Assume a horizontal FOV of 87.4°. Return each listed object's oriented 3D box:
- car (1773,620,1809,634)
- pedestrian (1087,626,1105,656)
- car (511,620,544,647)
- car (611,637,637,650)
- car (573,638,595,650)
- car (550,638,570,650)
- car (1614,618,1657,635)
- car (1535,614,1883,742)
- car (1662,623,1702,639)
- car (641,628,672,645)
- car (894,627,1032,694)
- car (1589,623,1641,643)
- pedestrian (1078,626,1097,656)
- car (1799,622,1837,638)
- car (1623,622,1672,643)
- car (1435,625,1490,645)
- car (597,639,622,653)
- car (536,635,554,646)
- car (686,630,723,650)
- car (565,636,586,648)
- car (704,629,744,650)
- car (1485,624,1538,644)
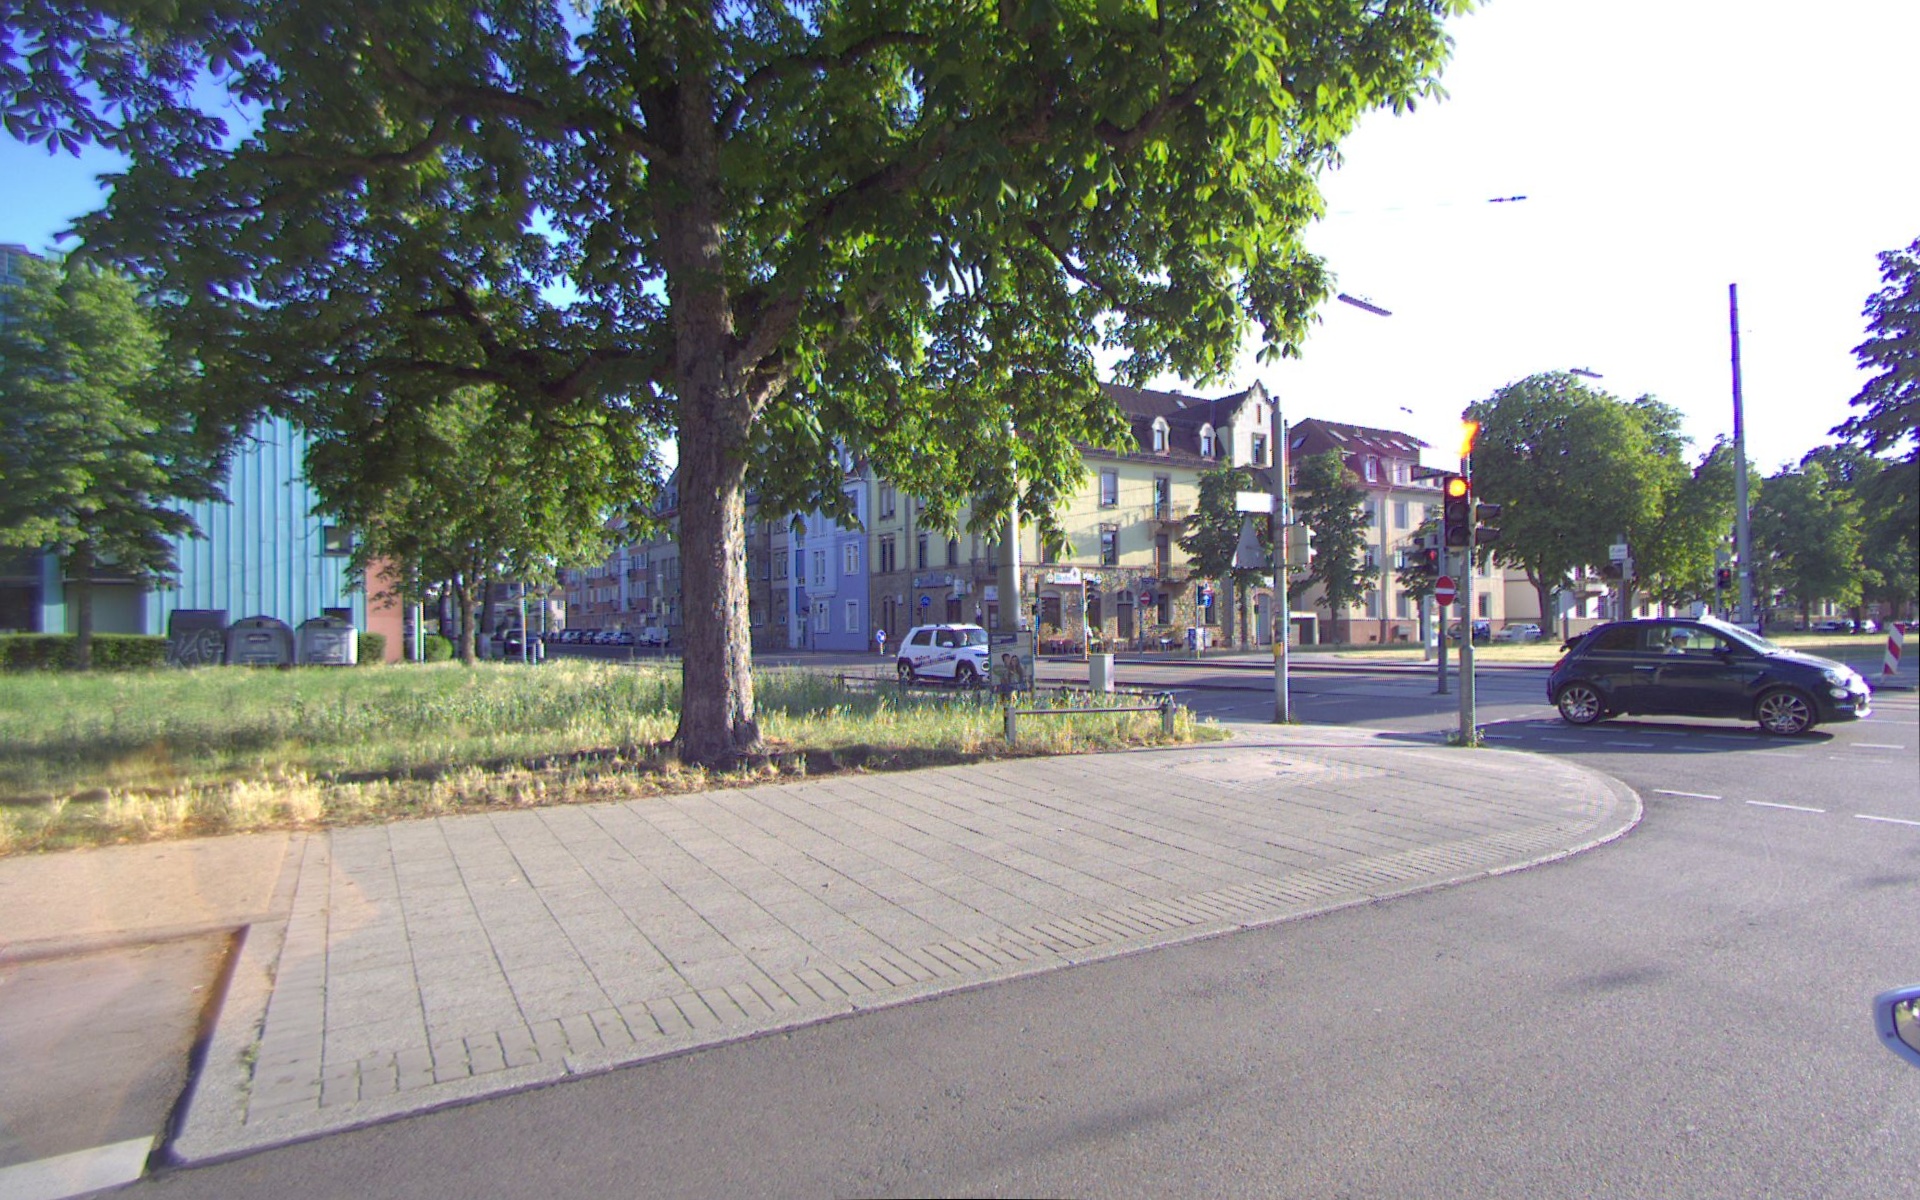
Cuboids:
[{"bbox_3d":[87.490,2.820,105.740,3.749,1.446,1.729,0,-1,-31],"label":"car"},{"bbox_3d":[7.857,2.354,57.929,0.715,1.664,0.811,0,-1,-23],"label":"pedestrian"},{"bbox_3d":[-28.705,2.212,66.627,1.854,1.685,4.534,0,-1,-26],"label":"car"},{"bbox_3d":[-35.005,4.529,104.692,1.867,1.299,4.013,0,-2,-29],"label":"car"},{"bbox_3d":[-44.461,5.189,118.696,1.867,1.433,4.013,0,-2,-29],"label":"car"},{"bbox_3d":[-50.922,5.521,127.730,1.867,1.433,4.013,0,-1,-29],"label":"car"},{"bbox_3d":[58.898,2.338,87.606,3.749,1.446,1.729,0,-1,-31],"label":"car"},{"bbox_3d":[10.156,1.000,13.821,1.599,1.517,3.565,0,-2,-41],"label":"car"},{"bbox_3d":[67.120,2.885,93.341,3.749,1.446,1.729,1,-1,-31],"label":"car"},{"bbox_3d":[-28.715,3.461,94.974,1.888,1.610,4.013,2,-2,-29],"label":"car"},{"bbox_3d":[0.000,1.492,26.012,1.597,1.572,3.837,0,-1,-37],"label":"car"},{"bbox_3d":[48.272,2.406,74.025,3.749,1.446,1.729,0,-1,-31],"label":"car"},{"bbox_3d":[7.284,2.337,57.209,0.807,1.664,0.719,0,-1,-33],"label":"pedestrian"},{"bbox_3d":[81.809,2.830,95.769,3.749,1.446,1.729,1,-1,-31],"label":"car"},{"bbox_3d":[52.526,2.461,76.727,3.748,1.446,1.729,-1,0,-31],"label":"car"},{"bbox_3d":[36.837,2.562,73.620,3.741,1.416,1.733,0,-2,-26],"label":"car"},{"bbox_3d":[-38.143,5.003,109.326,1.867,1.433,4.013,0,-2,-29],"label":"car"},{"bbox_3d":[-56.111,5.483,135.745,1.867,1.433,4.013,0,-2,-29],"label":"car"},{"bbox_3d":[-21.351,3.343,83.949,2.074,1.612,4.014,2,-2,-29],"label":"car"},{"bbox_3d":[-47.243,5.128,123.250,1.867,1.433,4.013,0,-1,-29],"label":"car"},{"bbox_3d":[-18.620,3.094,79.245,2.074,1.612,4.014,2,-2,-29],"label":"car"},{"bbox_3d":[42.282,2.598,76.995,3.741,1.446,1.733,0,-1,-26],"label":"car"}]
